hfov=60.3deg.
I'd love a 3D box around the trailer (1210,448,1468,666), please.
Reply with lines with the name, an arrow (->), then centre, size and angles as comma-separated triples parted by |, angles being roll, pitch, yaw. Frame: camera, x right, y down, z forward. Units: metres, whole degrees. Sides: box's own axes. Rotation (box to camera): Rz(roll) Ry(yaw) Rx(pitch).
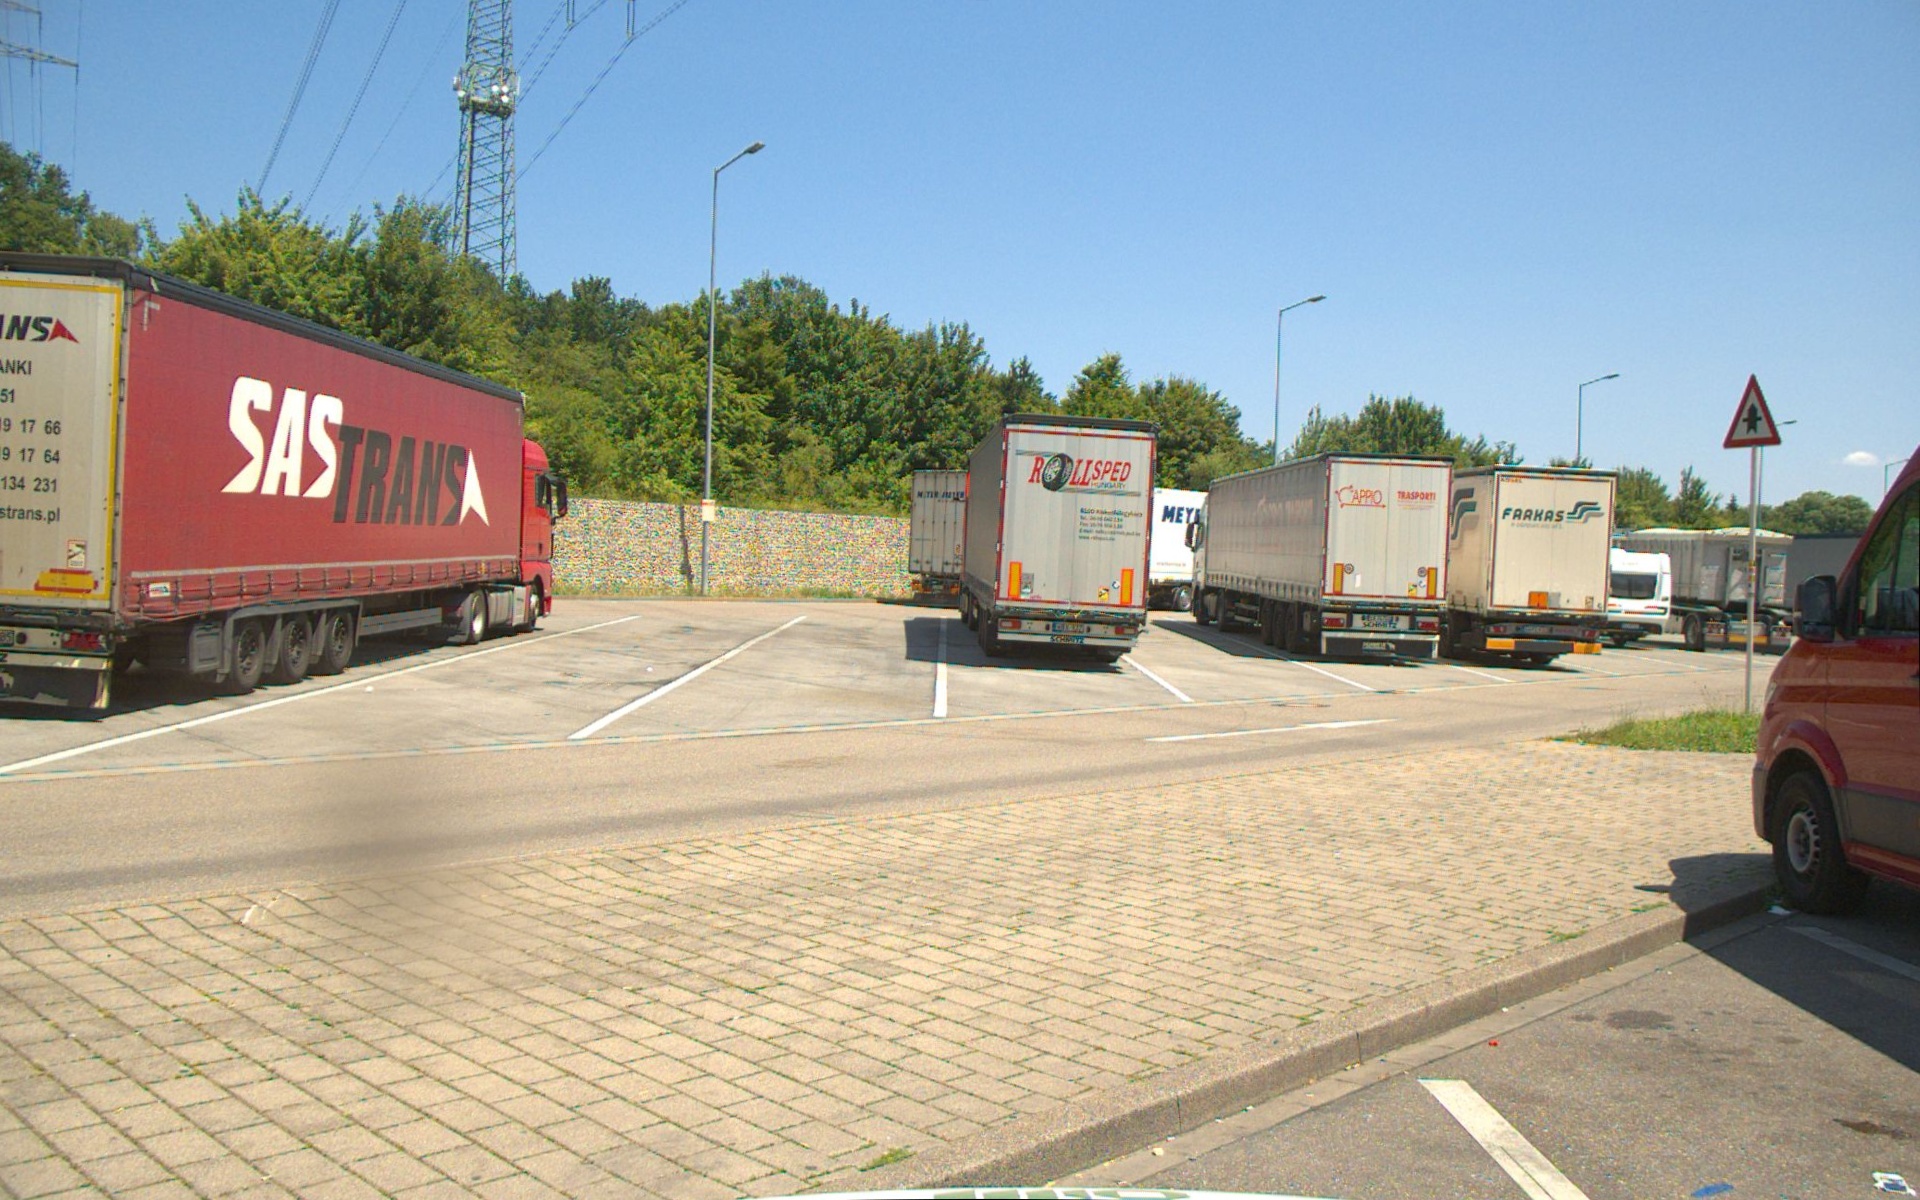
trailer -> 8.245, -1.082, 38.102 | 2.808, 4.107, 12.438 | 2, 2, -1

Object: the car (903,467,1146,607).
car -> 2.207, -1.915, 52.837 | 2.644, 4.114, 8.408 | 5, 3, 44

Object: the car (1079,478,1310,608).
car -> 8.608, -1.945, 59.522 | 2.644, 4.261, 10.146 | 5, 3, 44

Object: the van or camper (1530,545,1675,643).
van or camper -> 18.266, -0.212, 47.344 | 2.061, 2.606, 5.372 | 1, 1, 0

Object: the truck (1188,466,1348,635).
truck -> 8.166, -1.378, 44.732 | 2.808, 4.107, 6.956 | 2, 2, -1

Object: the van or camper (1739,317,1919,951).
van or camper -> 4.990, 0.181, 5.556 | 1.954, 2.700, 6.482 | 1, 1, 3

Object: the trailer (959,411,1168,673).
trailer -> 1.654, -1.234, 33.666 | 2.809, 4.107, 14.238 | 2, 2, -2

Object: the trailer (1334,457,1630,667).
trailer -> 11.822, -1.015, 39.219 | 2.808, 4.107, 12.438 | 2, 2, -1

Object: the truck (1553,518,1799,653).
truck -> 21.747, -0.638, 51.241 | 2.437, 3.630, 11.423 | 2, 2, -1

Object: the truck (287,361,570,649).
truck -> -8.698, -1.525, 27.874 | 2.641, 4.184, 6.239 | 2, 2, 0

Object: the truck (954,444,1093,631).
truck -> 1.423, -1.560, 40.747 | 2.809, 4.107, 7.026 | 2, 2, -2

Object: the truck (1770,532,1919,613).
truck -> 34.700, -1.055, 63.634 | 2.082, 2.869, 9.777 | 1, 1, -1

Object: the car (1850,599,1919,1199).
car -> 2.541, 0.801, 1.108 | 1.584, 1.509, 3.762 | 1, 1, -6

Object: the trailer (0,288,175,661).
trailer -> -12.546, -1.403, 17.158 | 2.756, 4.341, 12.940 | 2, 2, -1

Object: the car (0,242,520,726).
car -> -8.676, -1.277, 20.956 | 2.641, 4.184, 12.935 | 2, 2, 0
